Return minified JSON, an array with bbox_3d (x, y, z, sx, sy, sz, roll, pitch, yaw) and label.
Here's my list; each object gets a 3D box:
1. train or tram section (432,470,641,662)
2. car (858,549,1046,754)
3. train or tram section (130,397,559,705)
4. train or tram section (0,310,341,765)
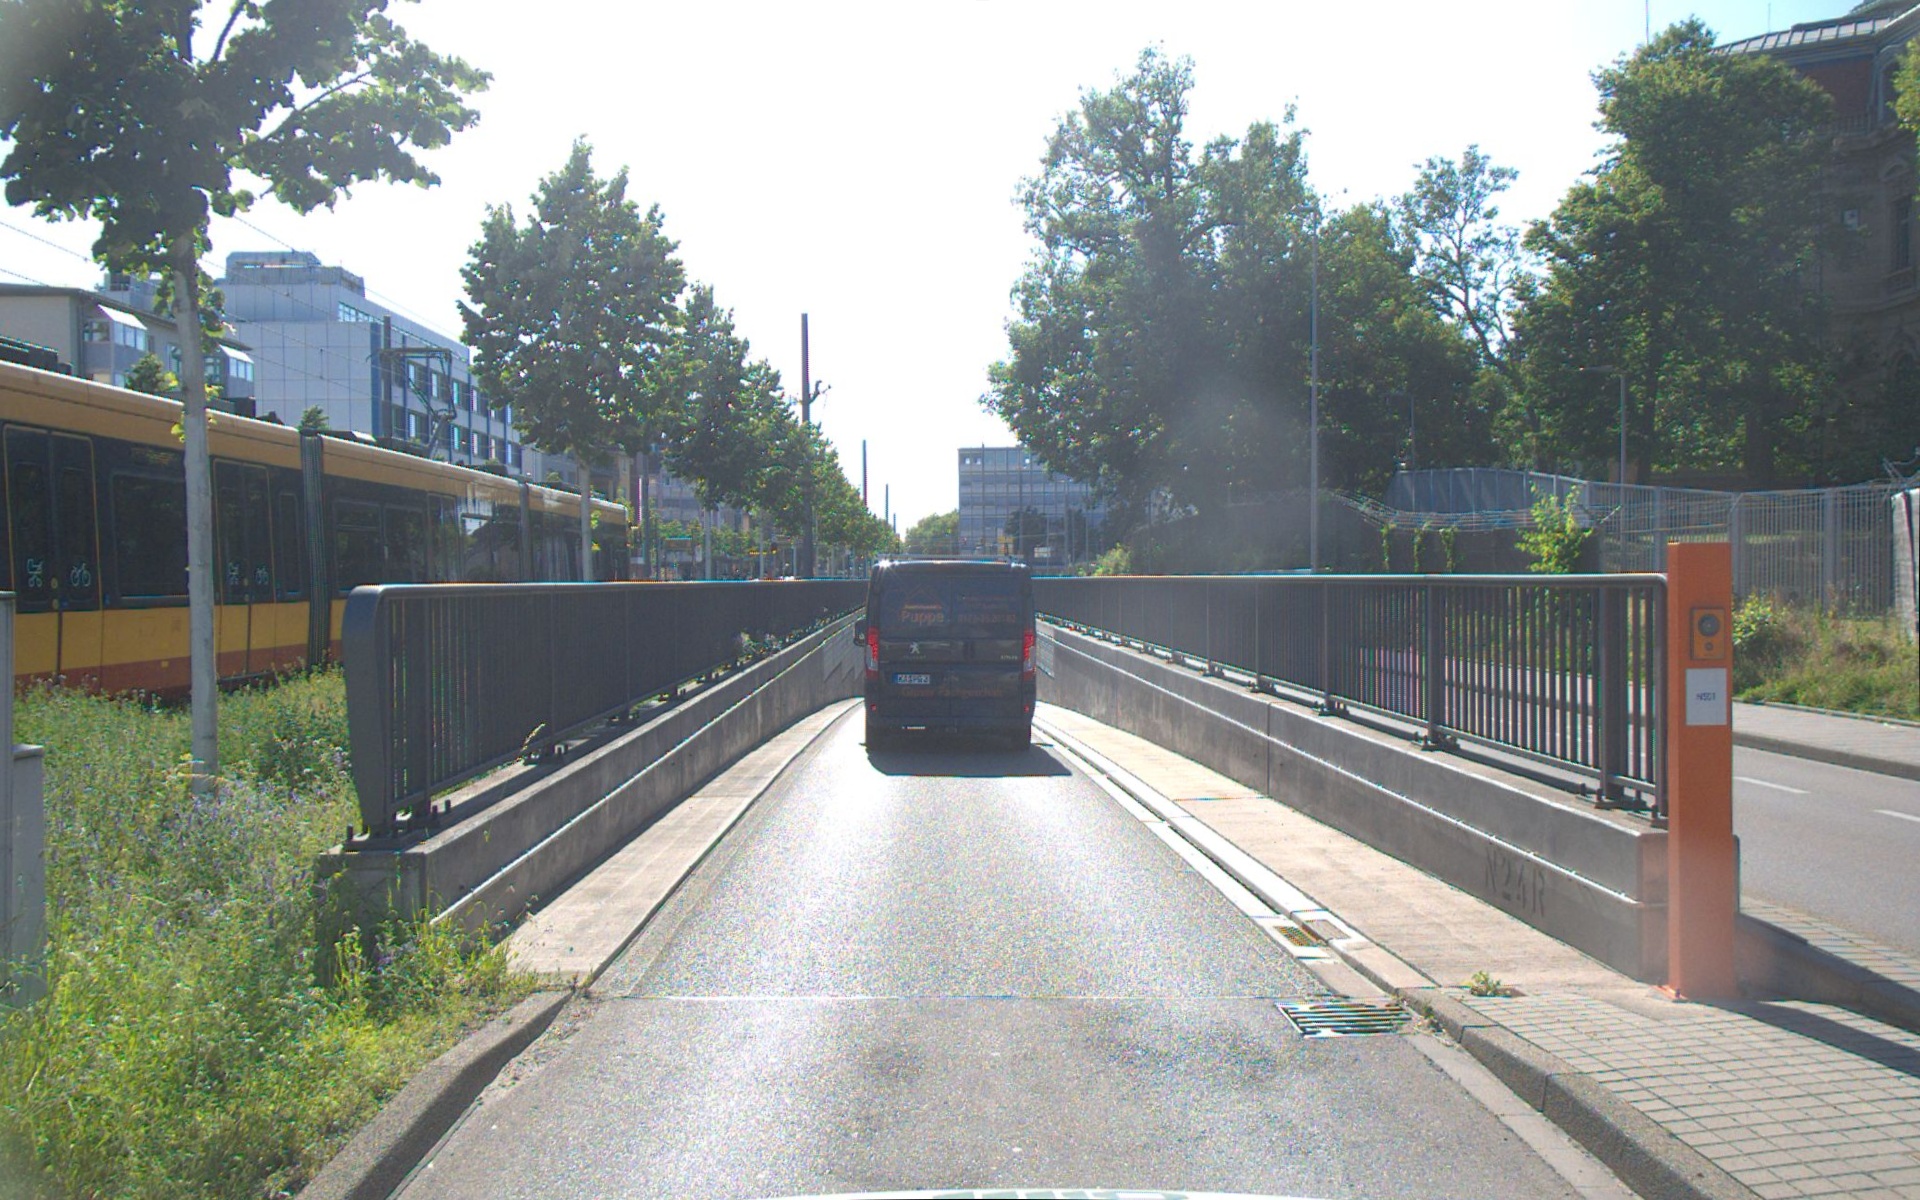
[{"bbox_3d":[-9.732,-0.723,39.228,2.559,3.922,9.968,1,0,-1],"label":"train or tram section"},{"bbox_3d":[-0.112,0.621,21.008,2.114,2.306,4.635,0,-1,-1],"label":"car"},{"bbox_3d":[-9.446,-0.650,27.691,2.558,3.888,13.087,1,0,-1],"label":"train or tram section"},{"bbox_3d":[-9.141,-0.530,14.510,2.557,3.720,13.339,1,0,-1],"label":"train or tram section"}]
